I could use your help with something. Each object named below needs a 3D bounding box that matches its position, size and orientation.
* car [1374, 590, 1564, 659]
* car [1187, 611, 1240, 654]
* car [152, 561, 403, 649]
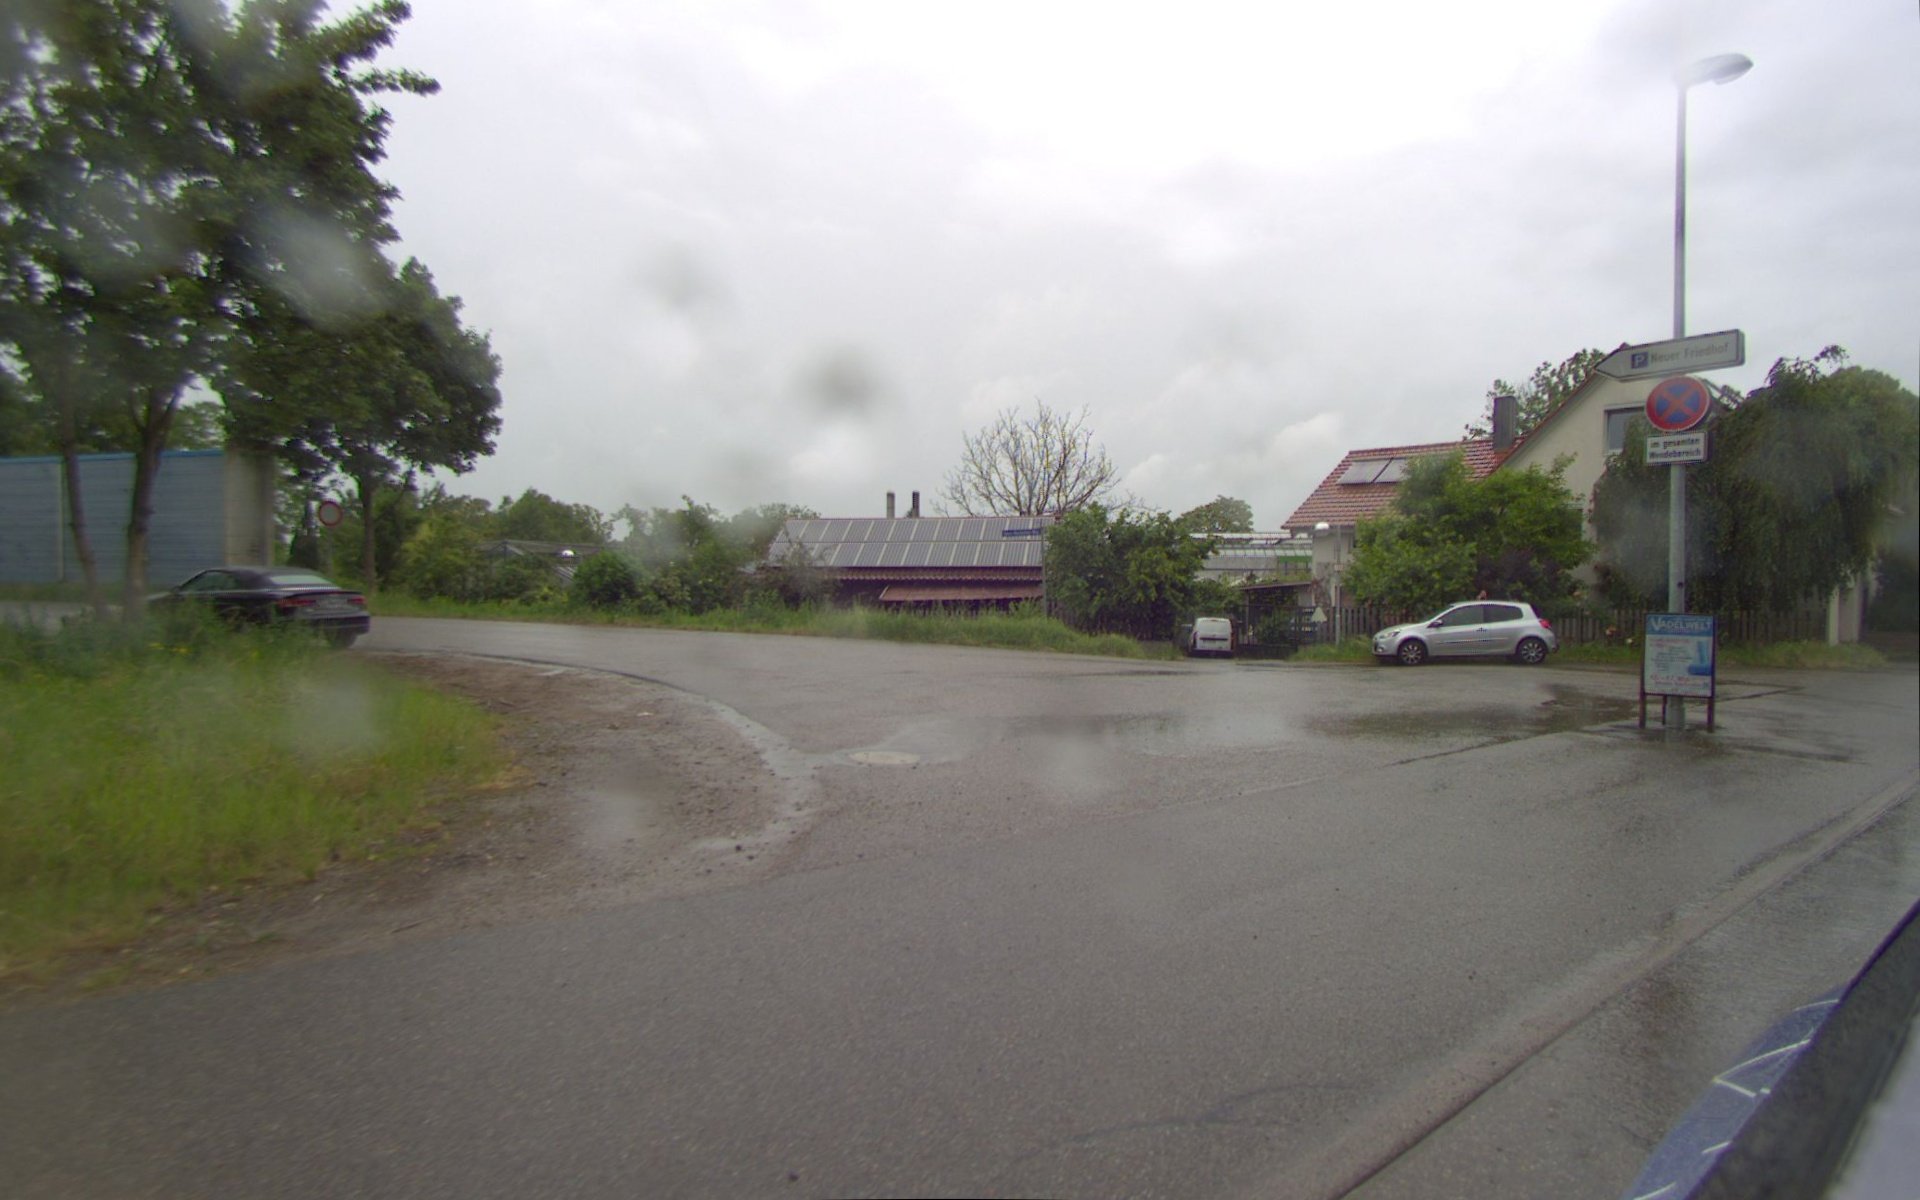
[{"bbox_3d":[12.100,0.577,24.325,3.806,1.551,1.709,-1,0,19],"label":"car"},{"bbox_3d":[10.997,1.389,44.133,1.902,1.705,3.989,-1,0,10],"label":"car"},{"bbox_3d":[-11.870,0.101,17.594,4.069,1.376,1.888,-1,0,26],"label":"car"}]
